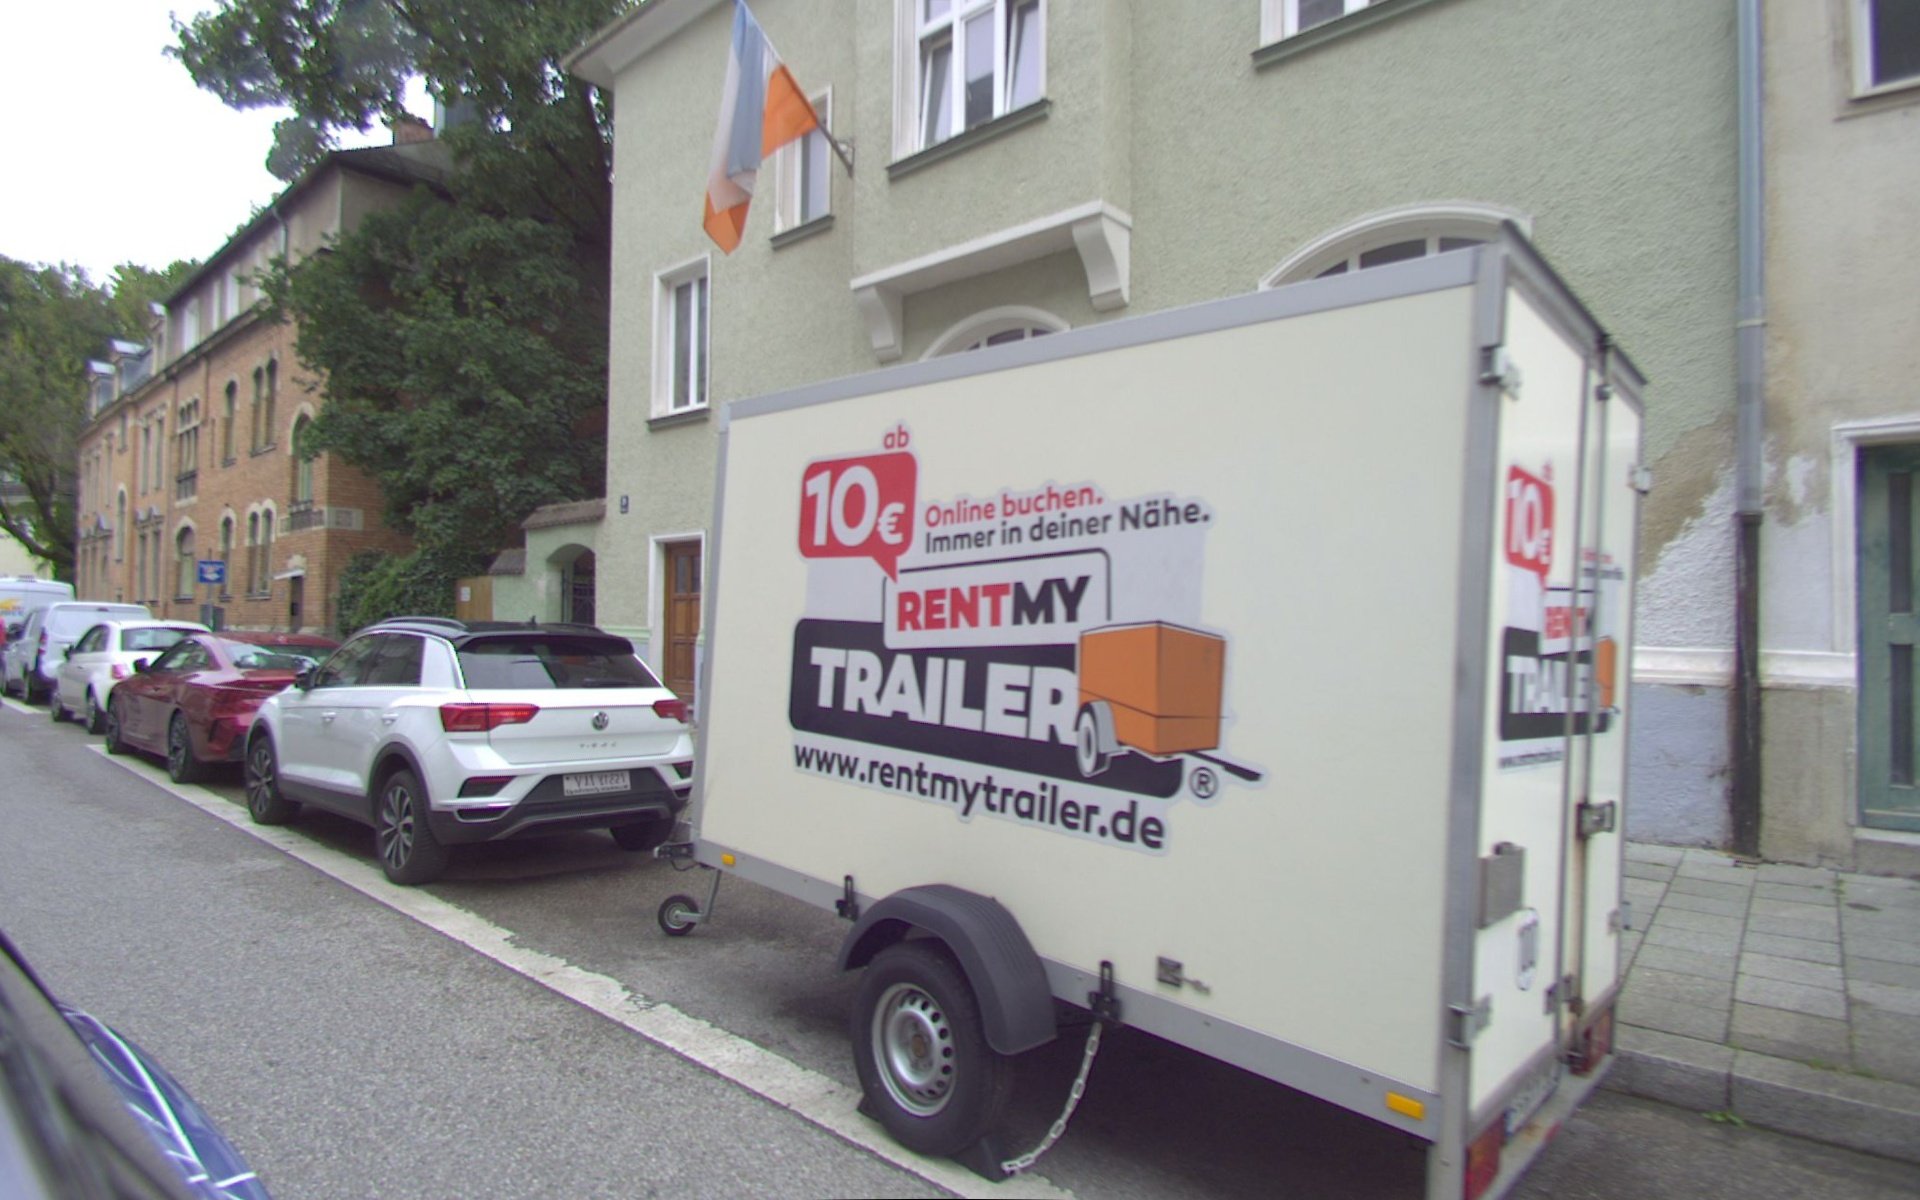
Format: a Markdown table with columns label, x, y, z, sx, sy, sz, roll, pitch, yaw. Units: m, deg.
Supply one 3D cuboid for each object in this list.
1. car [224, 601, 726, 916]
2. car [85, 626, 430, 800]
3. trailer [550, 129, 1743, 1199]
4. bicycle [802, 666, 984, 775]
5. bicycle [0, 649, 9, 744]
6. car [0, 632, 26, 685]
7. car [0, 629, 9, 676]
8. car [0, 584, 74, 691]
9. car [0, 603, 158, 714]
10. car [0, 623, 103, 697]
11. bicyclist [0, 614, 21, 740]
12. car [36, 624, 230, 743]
| label | x | y | z | sx | sy | sz | roll | pitch | yaw |
| --- | --- | --- | --- | --- | --- | --- | --- | --- | --- |
| car | -3.561 | 0.900 | 7.134 | 3.918 | 1.615 | 1.669 | -1 | -4 | 40 |
| car | -7.549 | 1.048 | 10.721 | 4.330 | 1.423 | 1.842 | 0 | -4 | 40 |
| trailer | 0.221 | 0.426 | 4.019 | 4.387 | 2.480 | 1.690 | -2 | -5 | 44 |
| bicycle | -0.702 | 1.158 | 10.080 | 1.926 | 0.913 | 0.517 | -1 | 1 | 38 |
| bicycle | -12.554 | 1.204 | 12.896 | 1.773 | 1.137 | 0.498 | -2 | -4 | 44 |
| car | -27.930 | 1.642 | 28.830 | 3.539 | 1.454 | 1.507 | -2 | -5 | 41 |
| car | -31.900 | 1.638 | 32.404 | 3.982 | 1.454 | 1.672 | -2 | -5 | 41 |
| car | -24.259 | 0.933 | 25.643 | 5.220 | 2.497 | 1.960 | -1 | -4 | 41 |
| car | -16.401 | 1.047 | 18.637 | 4.142 | 1.817 | 1.673 | -1 | -4 | 40 |
| car | -20.162 | 1.273 | 21.995 | 4.143 | 1.454 | 1.672 | -2 | -4 | 41 |
| bicyclist | -12.493 | 0.964 | 12.864 | 0.967 | 1.573 | 0.686 | -2 | -4 | 43 |
| car | -11.705 | 1.106 | 14.270 | 3.310 | 1.478 | 1.458 | -1 | -4 | 40 |
